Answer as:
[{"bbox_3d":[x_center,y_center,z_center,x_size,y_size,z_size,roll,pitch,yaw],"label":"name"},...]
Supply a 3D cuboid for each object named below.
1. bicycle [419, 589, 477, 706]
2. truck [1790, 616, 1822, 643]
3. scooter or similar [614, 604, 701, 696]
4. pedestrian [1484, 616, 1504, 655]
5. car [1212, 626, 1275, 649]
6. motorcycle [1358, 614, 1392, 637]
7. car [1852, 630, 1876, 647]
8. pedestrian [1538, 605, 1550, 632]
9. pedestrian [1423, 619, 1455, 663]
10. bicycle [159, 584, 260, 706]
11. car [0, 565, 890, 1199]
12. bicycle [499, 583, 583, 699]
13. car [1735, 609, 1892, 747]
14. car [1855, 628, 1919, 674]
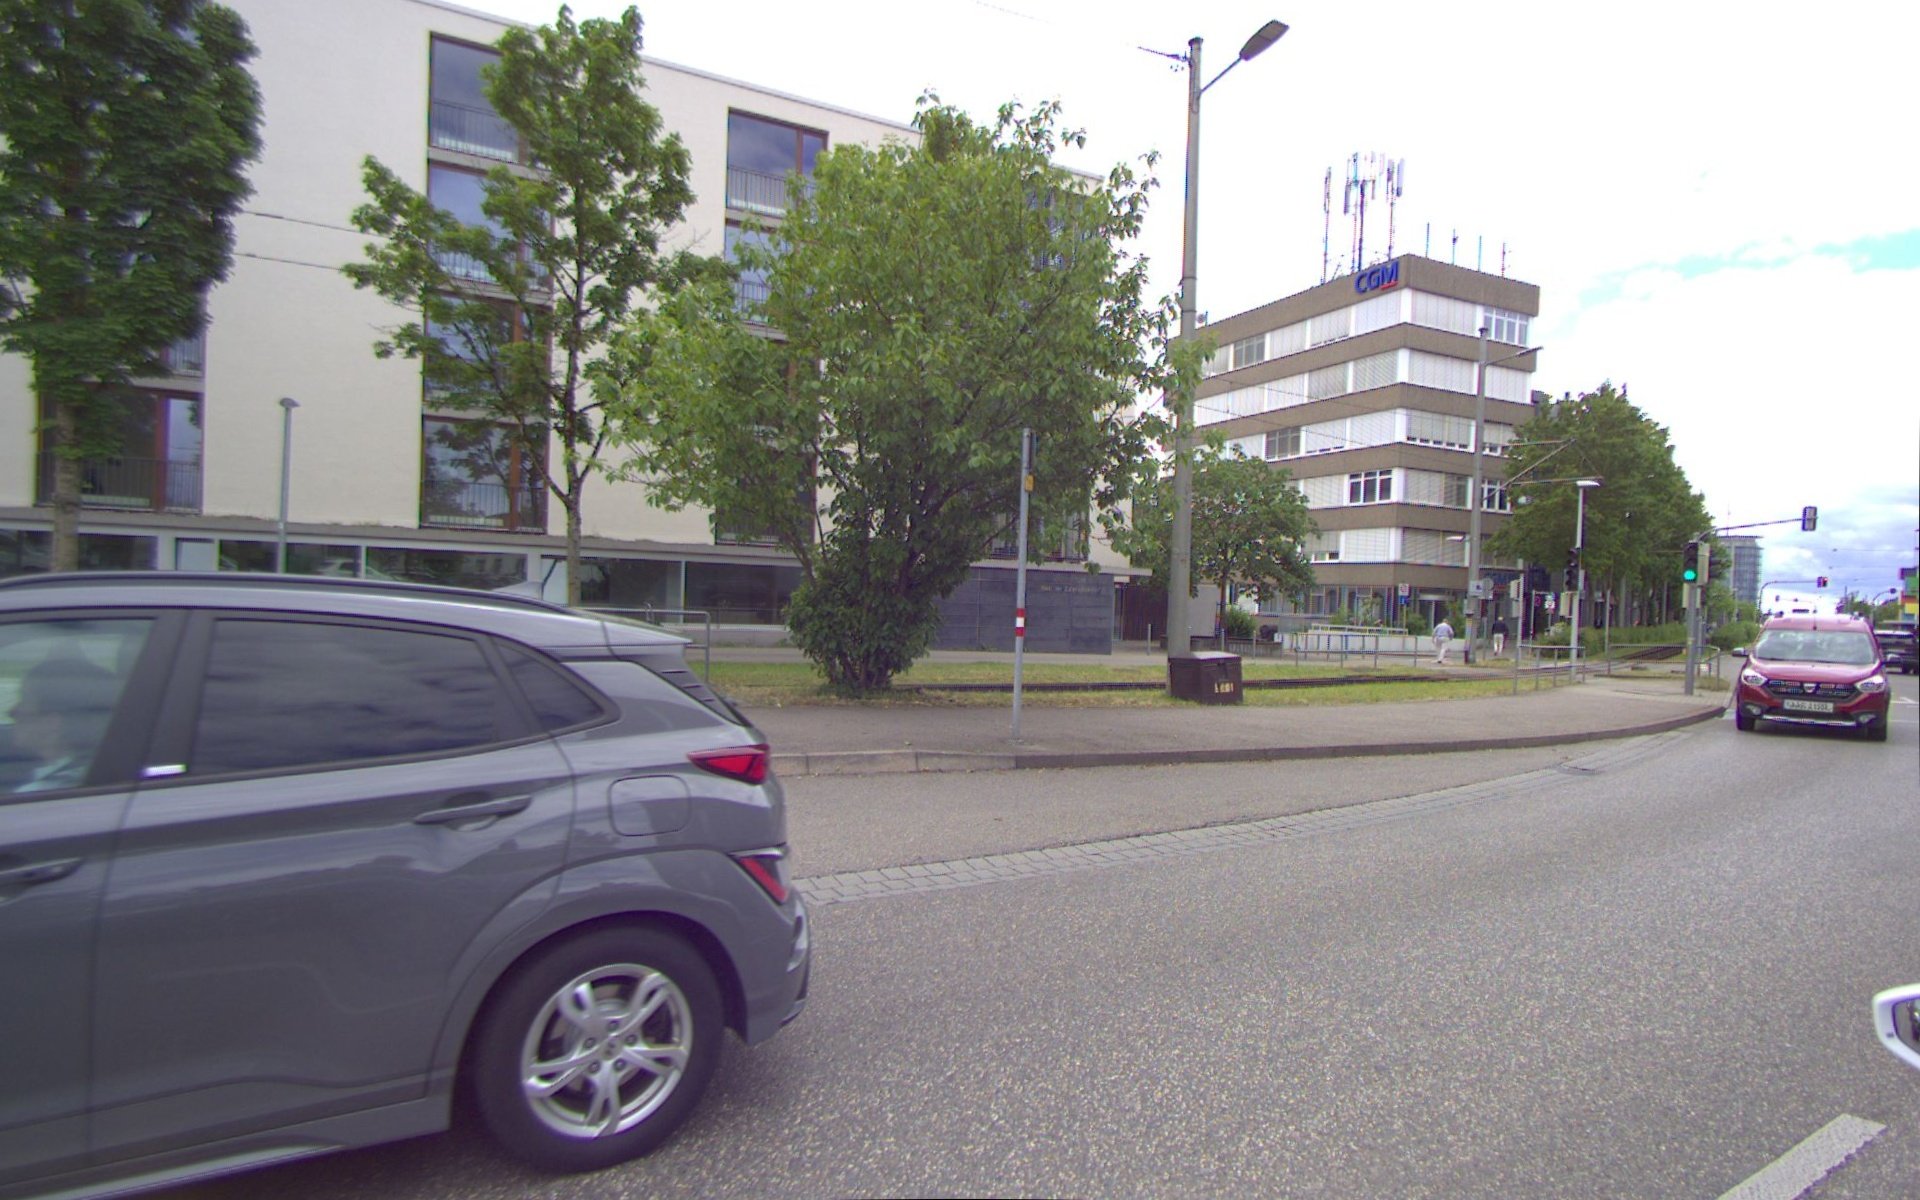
[{"bbox_3d":[-5.324,0.453,10.487,0.402,1.060,1.743,2,2,-24],"label":"bicycle"},{"bbox_3d":[85.464,2.970,101.545,2.138,2.650,5.772,2,0,38],"label":"truck"},{"bbox_3d":[-3.588,0.576,11.897,0.765,1.023,0.782,2,0,-33],"label":"scooter or similar"},{"bbox_3d":[24.342,1.620,45.777,0.680,1.728,0.679,1,-1,41],"label":"pedestrian"},{"bbox_3d":[18.324,2.416,64.885,3.954,1.444,1.717,2,-2,-31],"label":"car"},{"bbox_3d":[23.649,1.438,57.306,0.561,1.215,1.872,2,0,-27],"label":"motorcycle"},{"bbox_3d":[93.136,3.976,103.482,1.740,1.630,4.165,2,0,42],"label":"car"},{"bbox_3d":[44.174,1.390,75.972,0.672,2.040,0.568,2,0,39],"label":"pedestrian"},{"bbox_3d":[17.283,1.482,36.219,0.837,1.547,0.992,1,-1,38],"label":"pedestrian"},{"bbox_3d":[-7.269,0.393,9.781,0.390,1.039,1.682,2,2,-24],"label":"bicycle"},{"bbox_3d":[-2.348,0.688,2.690,3.956,1.498,1.758,2,-1,-32],"label":"car"},{"bbox_3d":[-4.597,0.411,10.958,0.404,1.103,1.691,1,2,-38],"label":"bicycle"},{"bbox_3d":[13.266,1.106,15.616,1.661,1.832,4.330,0,-1,41],"label":"car"},{"bbox_3d":[36.801,1.987,39.905,1.740,1.630,4.164,3,0,43],"label":"car"}]
